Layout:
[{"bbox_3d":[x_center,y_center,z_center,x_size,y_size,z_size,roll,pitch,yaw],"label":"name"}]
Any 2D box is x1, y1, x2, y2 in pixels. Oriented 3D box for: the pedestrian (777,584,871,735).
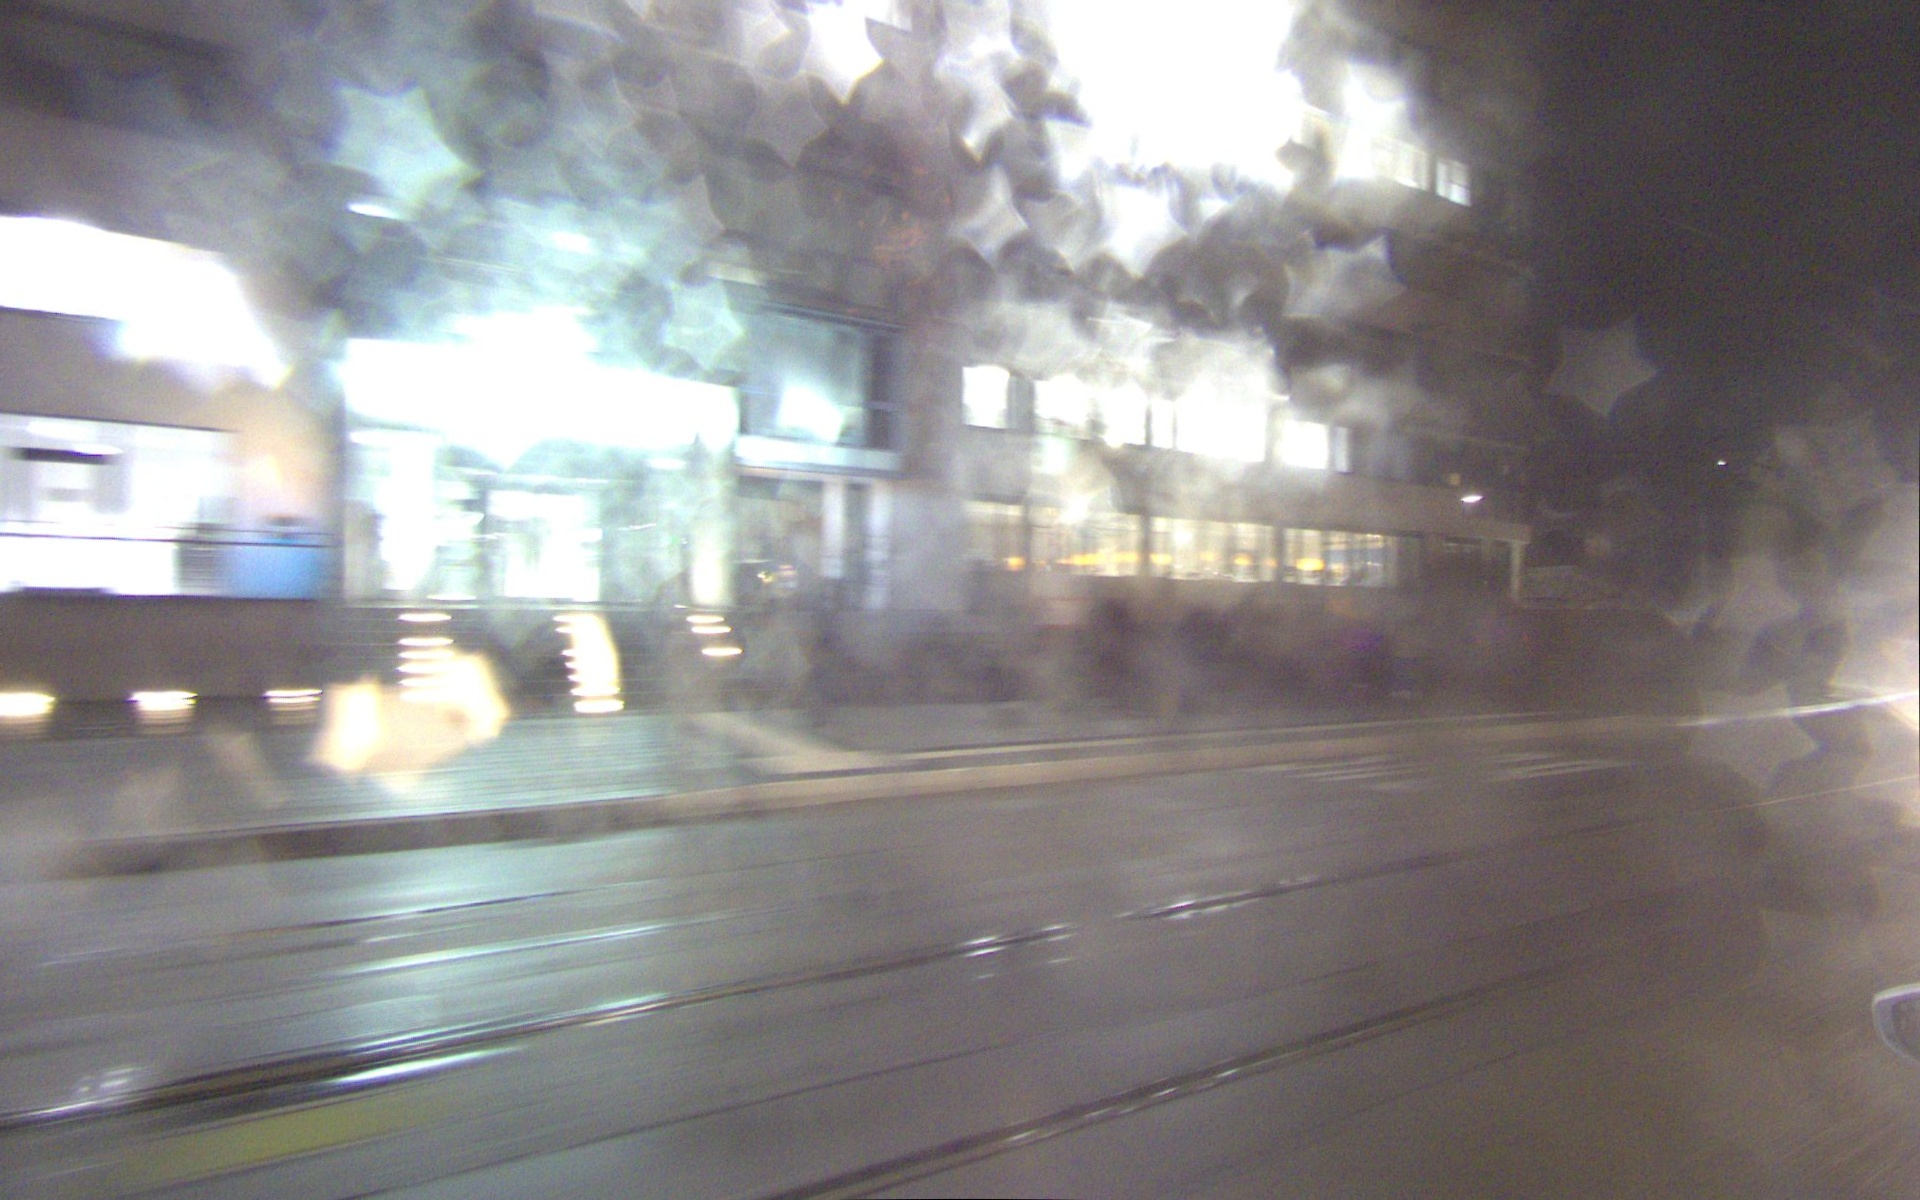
[{"bbox_3d":[-1.627,0.687,11.978,0.872,1.709,0.782,1,-1,-30],"label":"pedestrian"}]
